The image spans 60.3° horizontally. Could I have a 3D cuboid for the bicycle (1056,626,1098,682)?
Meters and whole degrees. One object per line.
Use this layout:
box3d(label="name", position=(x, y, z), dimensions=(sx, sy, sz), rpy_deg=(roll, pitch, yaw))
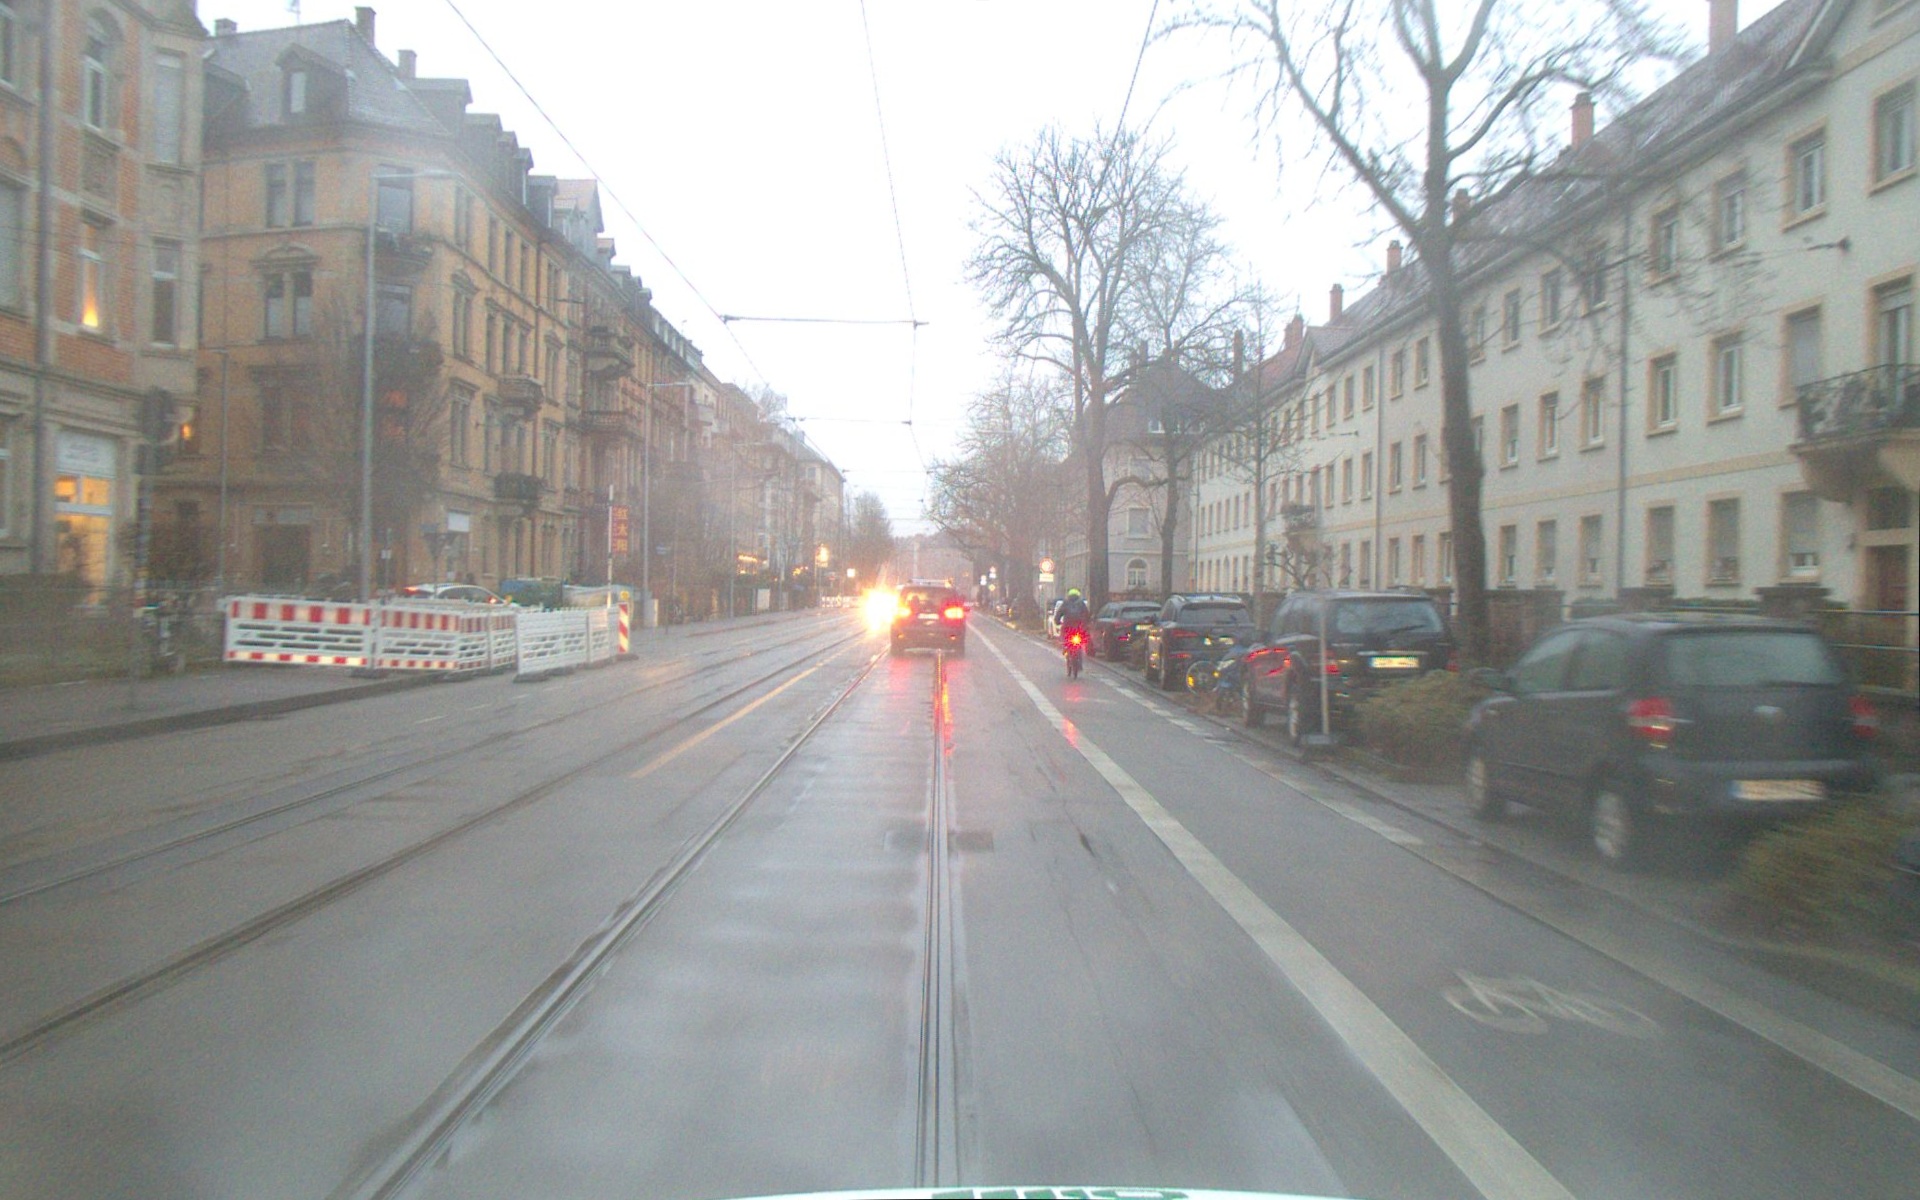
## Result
box3d(label="bicycle", position=(2.281, 1.052, 32.420), dimensions=(0.716, 1.024, 1.764), rpy_deg=(1, 0, 0))

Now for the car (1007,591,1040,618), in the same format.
box3d(label="car", position=(3.721, 0.241, 98.026), dimensions=(1.749, 1.536, 4.108), rpy_deg=(0, 0, -1))

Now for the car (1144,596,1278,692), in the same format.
box3d(label="car", position=(4.605, 0.756, 30.984), dimensions=(1.866, 1.638, 4.561), rpy_deg=(0, 0, 1))

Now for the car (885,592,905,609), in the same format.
box3d(label="car", position=(-6.307, 0.042, 161.023), dimensions=(1.884, 1.691, 3.999), rpy_deg=(0, 0, -1))

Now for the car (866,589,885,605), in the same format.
box3d(label="car", position=(-9.022, -0.329, 177.730), dimensions=(1.884, 1.750, 3.999), rpy_deg=(0, 0, -1))

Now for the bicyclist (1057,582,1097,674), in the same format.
box3d(label="bicyclist", position=(2.283, 0.542, 32.397), dimensions=(0.715, 1.767, 0.765), rpy_deg=(1, 0, 0))

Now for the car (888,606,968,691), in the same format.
box3d(label="car", position=(-0.756, 1.156, 41.270), dimensions=(1.765, 1.903, 4.018), rpy_deg=(3, 0, 1))

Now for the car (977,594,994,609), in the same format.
box3d(label="car", position=(2.692, 0.127, 174.899), dimensions=(1.749, 1.536, 4.108), rpy_deg=(0, 0, -1))

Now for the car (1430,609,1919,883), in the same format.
box3d(label="car", position=(4.753, 0.853, 11.511), dimensions=(1.749, 1.536, 3.986), rpy_deg=(0, 0, -1))

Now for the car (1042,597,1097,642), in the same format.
box3d(label="car", position=(3.939, 0.676, 60.175), dimensions=(1.748, 1.536, 4.108), rpy_deg=(0, 0, 0))

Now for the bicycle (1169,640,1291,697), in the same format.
box3d(label="bicycle", position=(4.480, 1.137, 27.523), dimensions=(1.970, 0.932, 0.465), rpy_deg=(0, 0, 8))

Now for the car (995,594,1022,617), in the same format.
box3d(label="car", position=(3.361, 0.376, 116.046), dimensions=(1.749, 1.536, 4.108), rpy_deg=(0, 0, -1))

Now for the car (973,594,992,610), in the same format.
box3d(label="car", position=(2.174, 0.214, 161.363), dimensions=(1.749, 1.536, 4.108), rpy_deg=(0, 0, -1))

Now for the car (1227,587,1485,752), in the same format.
box3d(label="car", position=(4.617, 0.732, 20.086), dimensions=(1.867, 1.758, 4.901), rpy_deg=(0, 0, -1))

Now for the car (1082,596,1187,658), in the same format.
box3d(label="car", position=(4.343, 0.641, 41.776), dimensions=(1.842, 1.444, 4.340), rpy_deg=(-1, 0, -5))

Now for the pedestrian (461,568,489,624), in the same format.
box3d(label="pedestrian", position=(-15.898, -0.128, 54.211), dimensions=(0.711, 1.804, 0.762), rpy_deg=(0, 0, -32))
